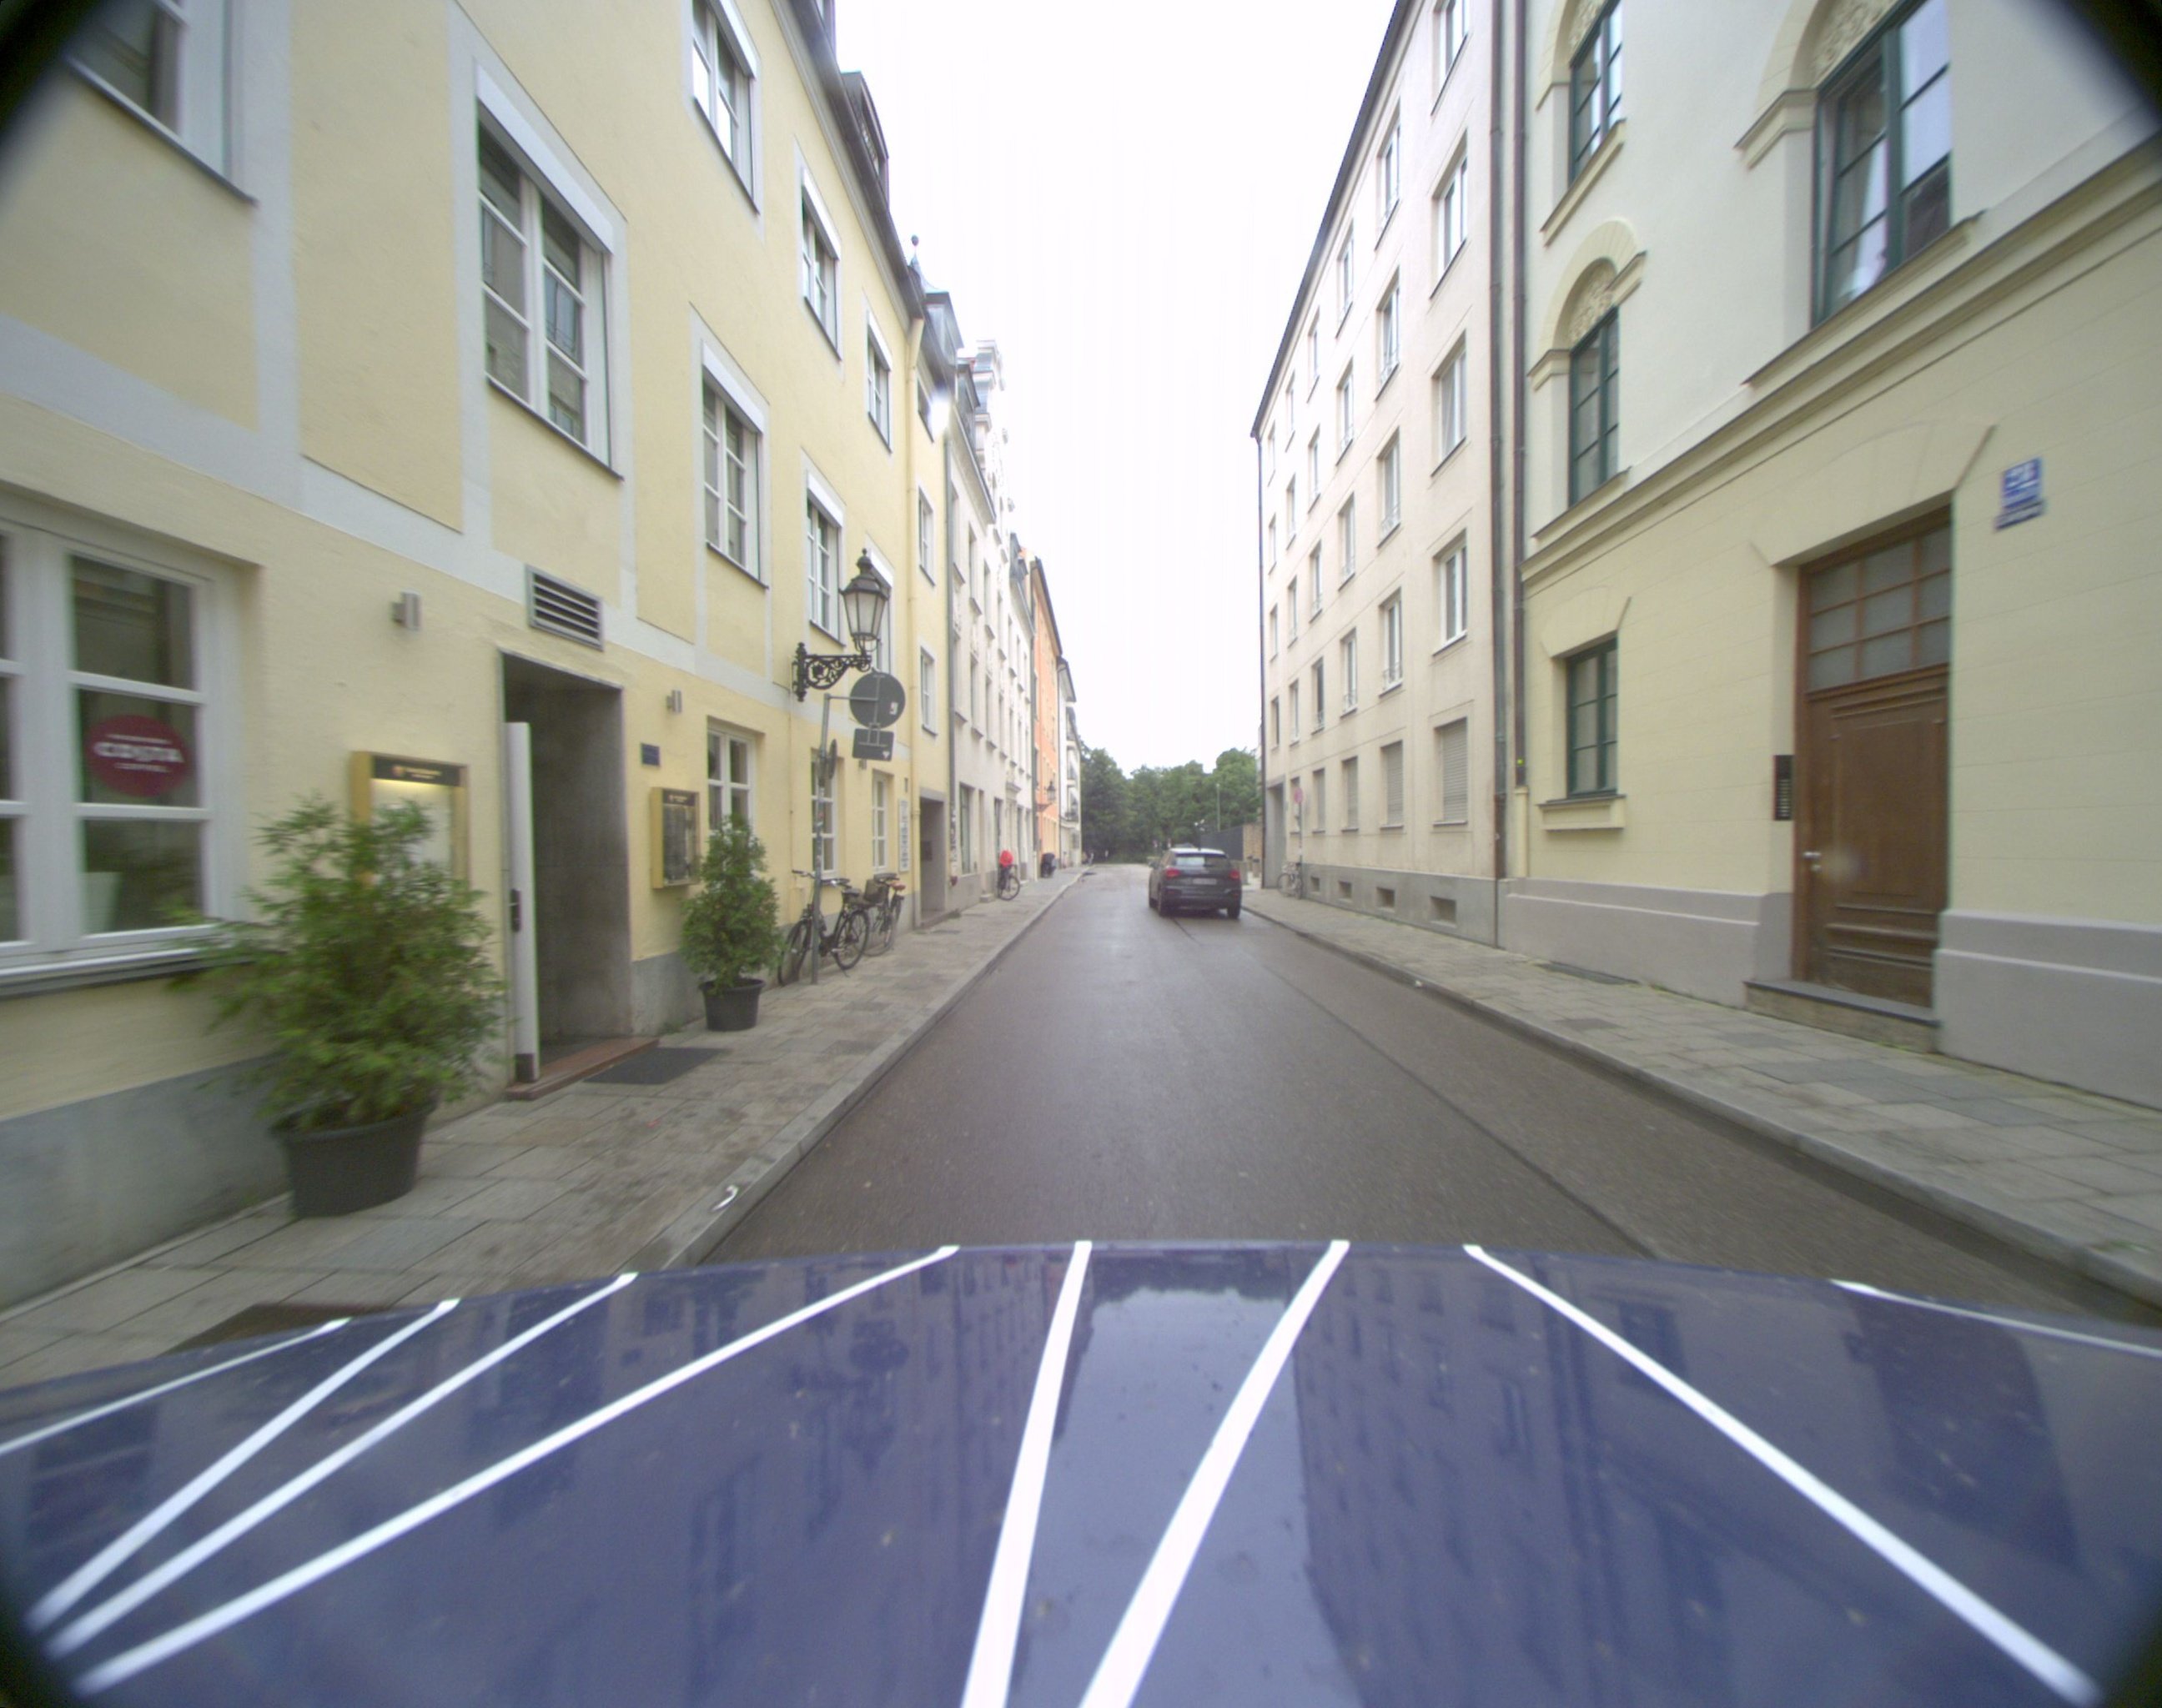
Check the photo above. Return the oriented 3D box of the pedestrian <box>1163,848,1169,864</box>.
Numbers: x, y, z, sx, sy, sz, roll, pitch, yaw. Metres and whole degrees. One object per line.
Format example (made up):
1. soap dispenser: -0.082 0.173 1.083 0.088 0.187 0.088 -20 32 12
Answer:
1. pedestrian: 9.405 0.172 83.959 0.625 1.758 0.767 -1 0 2

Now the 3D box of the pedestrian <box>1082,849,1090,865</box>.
1. pedestrian: 0.548 0.332 82.096 0.753 1.671 0.656 -1 0 1

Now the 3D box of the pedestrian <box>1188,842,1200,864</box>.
1. pedestrian: 8.971 -0.075 60.296 0.826 1.713 0.906 -3 0 8

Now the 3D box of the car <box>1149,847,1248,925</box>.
1. car: 2.627 0.652 17.857 1.816 1.584 4.000 1 1 2

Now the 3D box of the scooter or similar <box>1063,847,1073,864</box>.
1. scooter or similar: -0.985 0.130 56.911 0.466 1.251 1.275 2 1 -11

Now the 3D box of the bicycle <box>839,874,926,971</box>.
1. bicycle: -2.714 0.895 10.617 0.567 1.130 1.988 1 1 3

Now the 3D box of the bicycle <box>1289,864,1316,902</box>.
1. bicycle: 5.942 0.754 20.400 0.320 0.938 1.574 -4 1 4

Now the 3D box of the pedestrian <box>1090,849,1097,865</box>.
1. pedestrian: 1.382 0.298 82.271 0.753 1.726 0.853 -1 0 1

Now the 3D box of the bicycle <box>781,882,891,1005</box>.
1. bicycle: -2.645 0.919 8.392 0.567 1.130 1.684 1 1 3

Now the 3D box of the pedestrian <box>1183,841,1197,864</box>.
1. pedestrian: 10.111 -0.158 70.494 1.225 2.092 1.117 -1 0 5

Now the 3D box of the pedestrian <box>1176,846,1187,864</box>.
1. pedestrian: 8.693 0.103 65.715 0.778 1.531 0.933 -3 0 10

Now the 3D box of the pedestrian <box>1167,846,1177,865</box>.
1. pedestrian: 7.274 0.126 60.727 0.640 1.459 1.079 -3 0 3

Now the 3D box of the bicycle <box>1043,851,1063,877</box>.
1. bicycle: -1.431 0.505 38.616 0.681 1.233 2.383 4 1 4

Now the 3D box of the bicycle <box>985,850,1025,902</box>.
1. bicycle: -2.151 0.599 21.685 0.715 1.388 2.122 2 1 5
